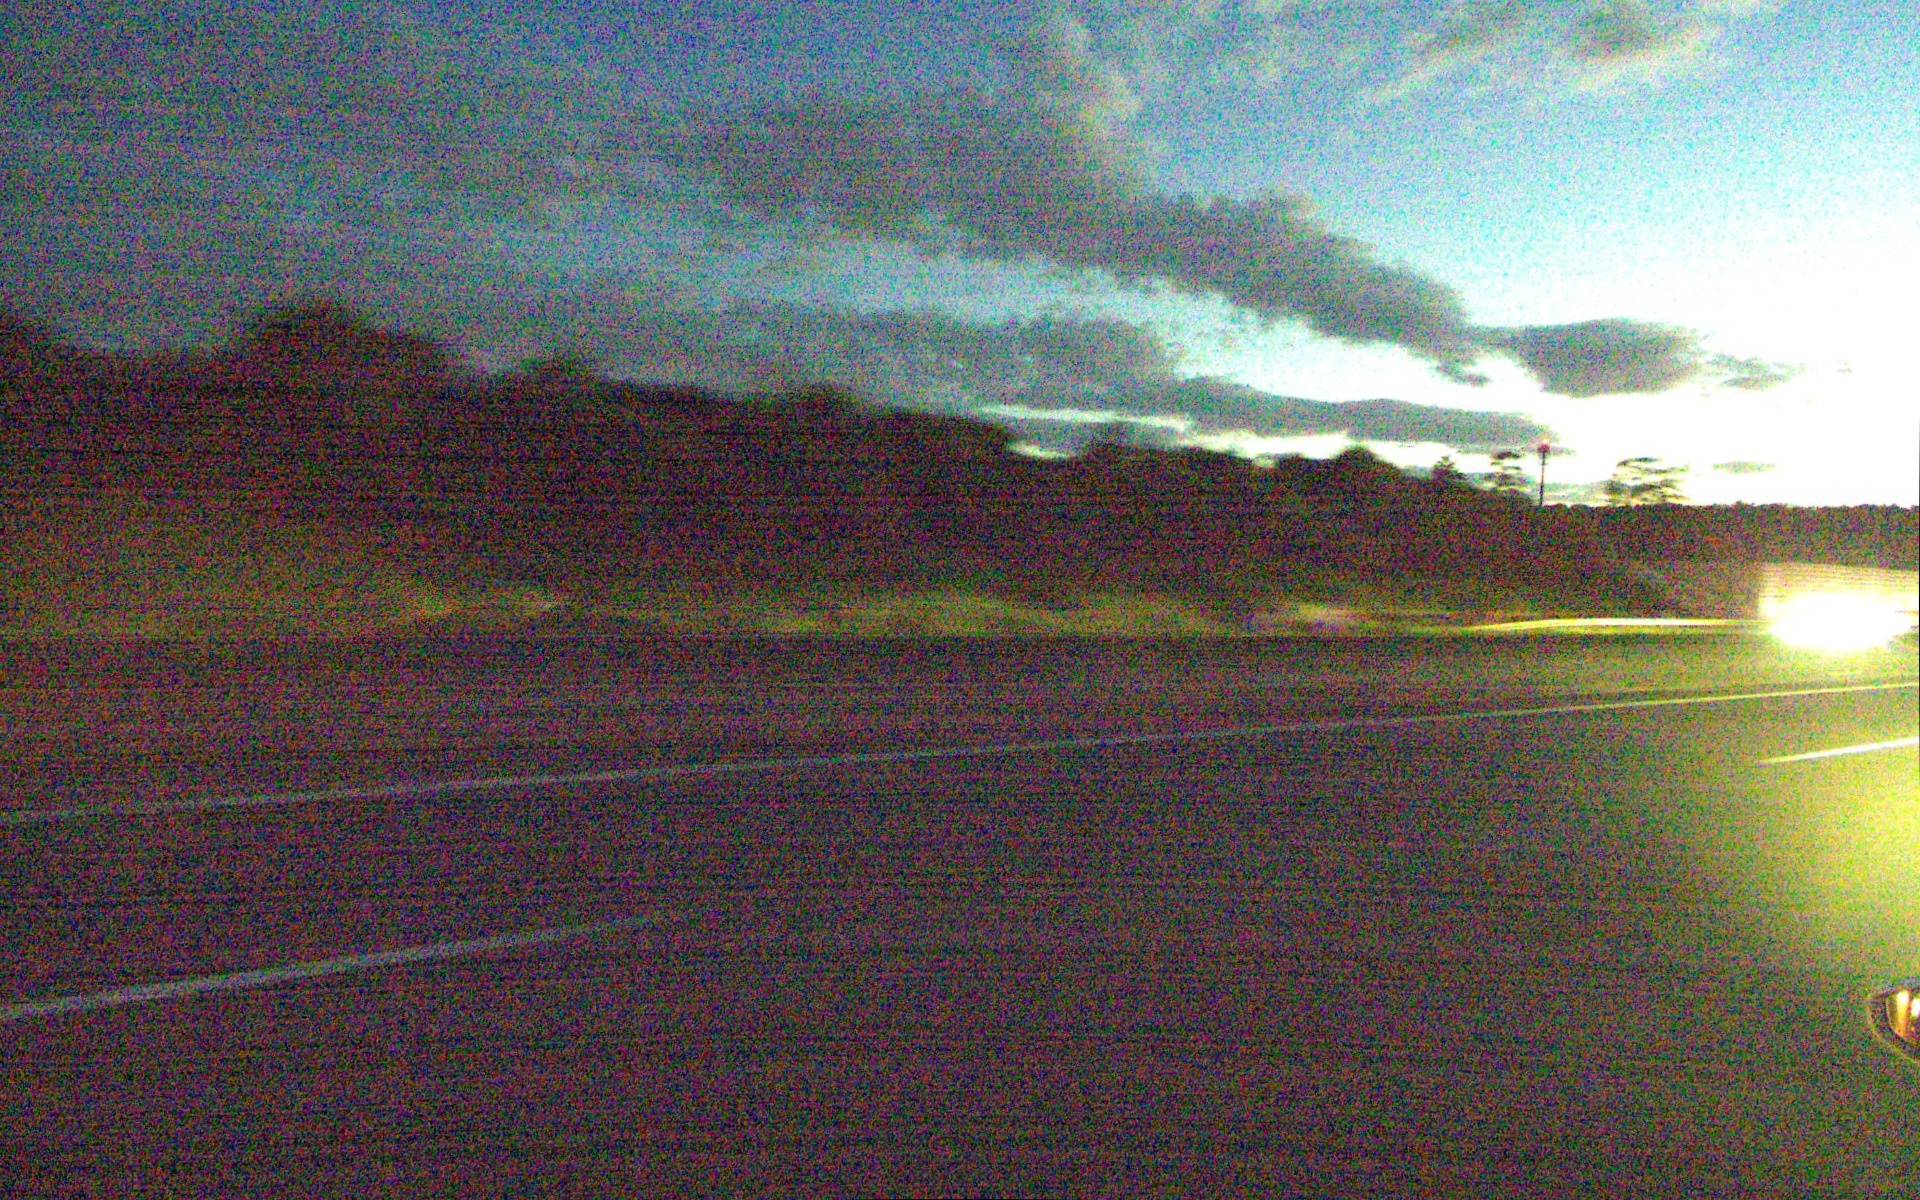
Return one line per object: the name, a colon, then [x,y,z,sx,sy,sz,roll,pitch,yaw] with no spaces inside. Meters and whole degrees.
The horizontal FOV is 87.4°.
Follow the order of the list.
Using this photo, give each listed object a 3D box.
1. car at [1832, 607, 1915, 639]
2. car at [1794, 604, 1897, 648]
car: [53.123,1.350,58.380,5.324,1.710,2.094,2,0,-31]
car: [39.565,1.170,44.867,4.605,1.813,2.094,2,0,-30]
